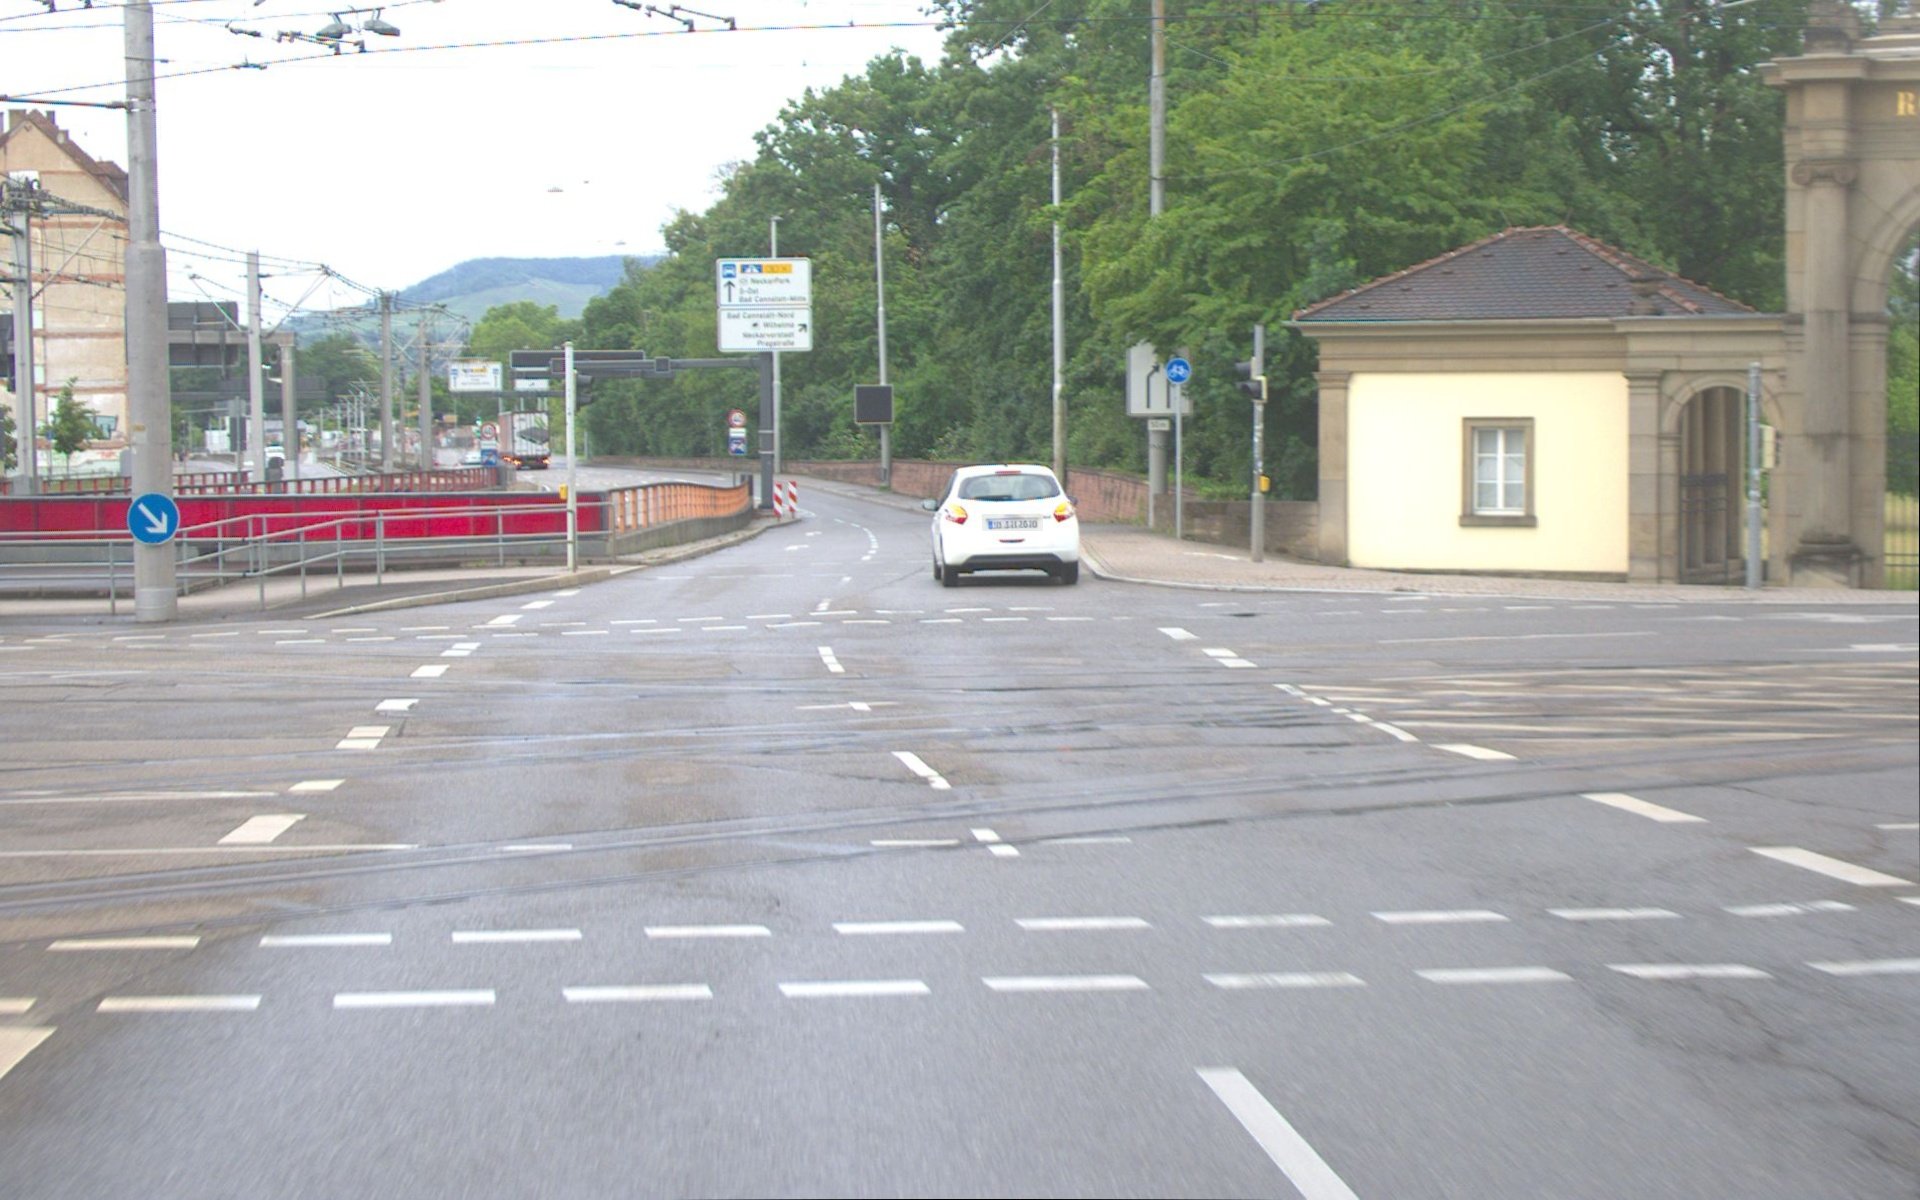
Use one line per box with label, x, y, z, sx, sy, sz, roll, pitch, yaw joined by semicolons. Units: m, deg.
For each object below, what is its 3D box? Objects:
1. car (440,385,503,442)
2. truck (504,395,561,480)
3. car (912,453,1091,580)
car;-17.338;-6.600;121.886;1.993;1.866;4.002;-2;3;-10
truck;-29.799;-11.247;239.422;3.464;5.382;12.054;-1;0;-9
car;0.474;-1.017;43.334;1.955;1.483;4.000;-1;0;-3
